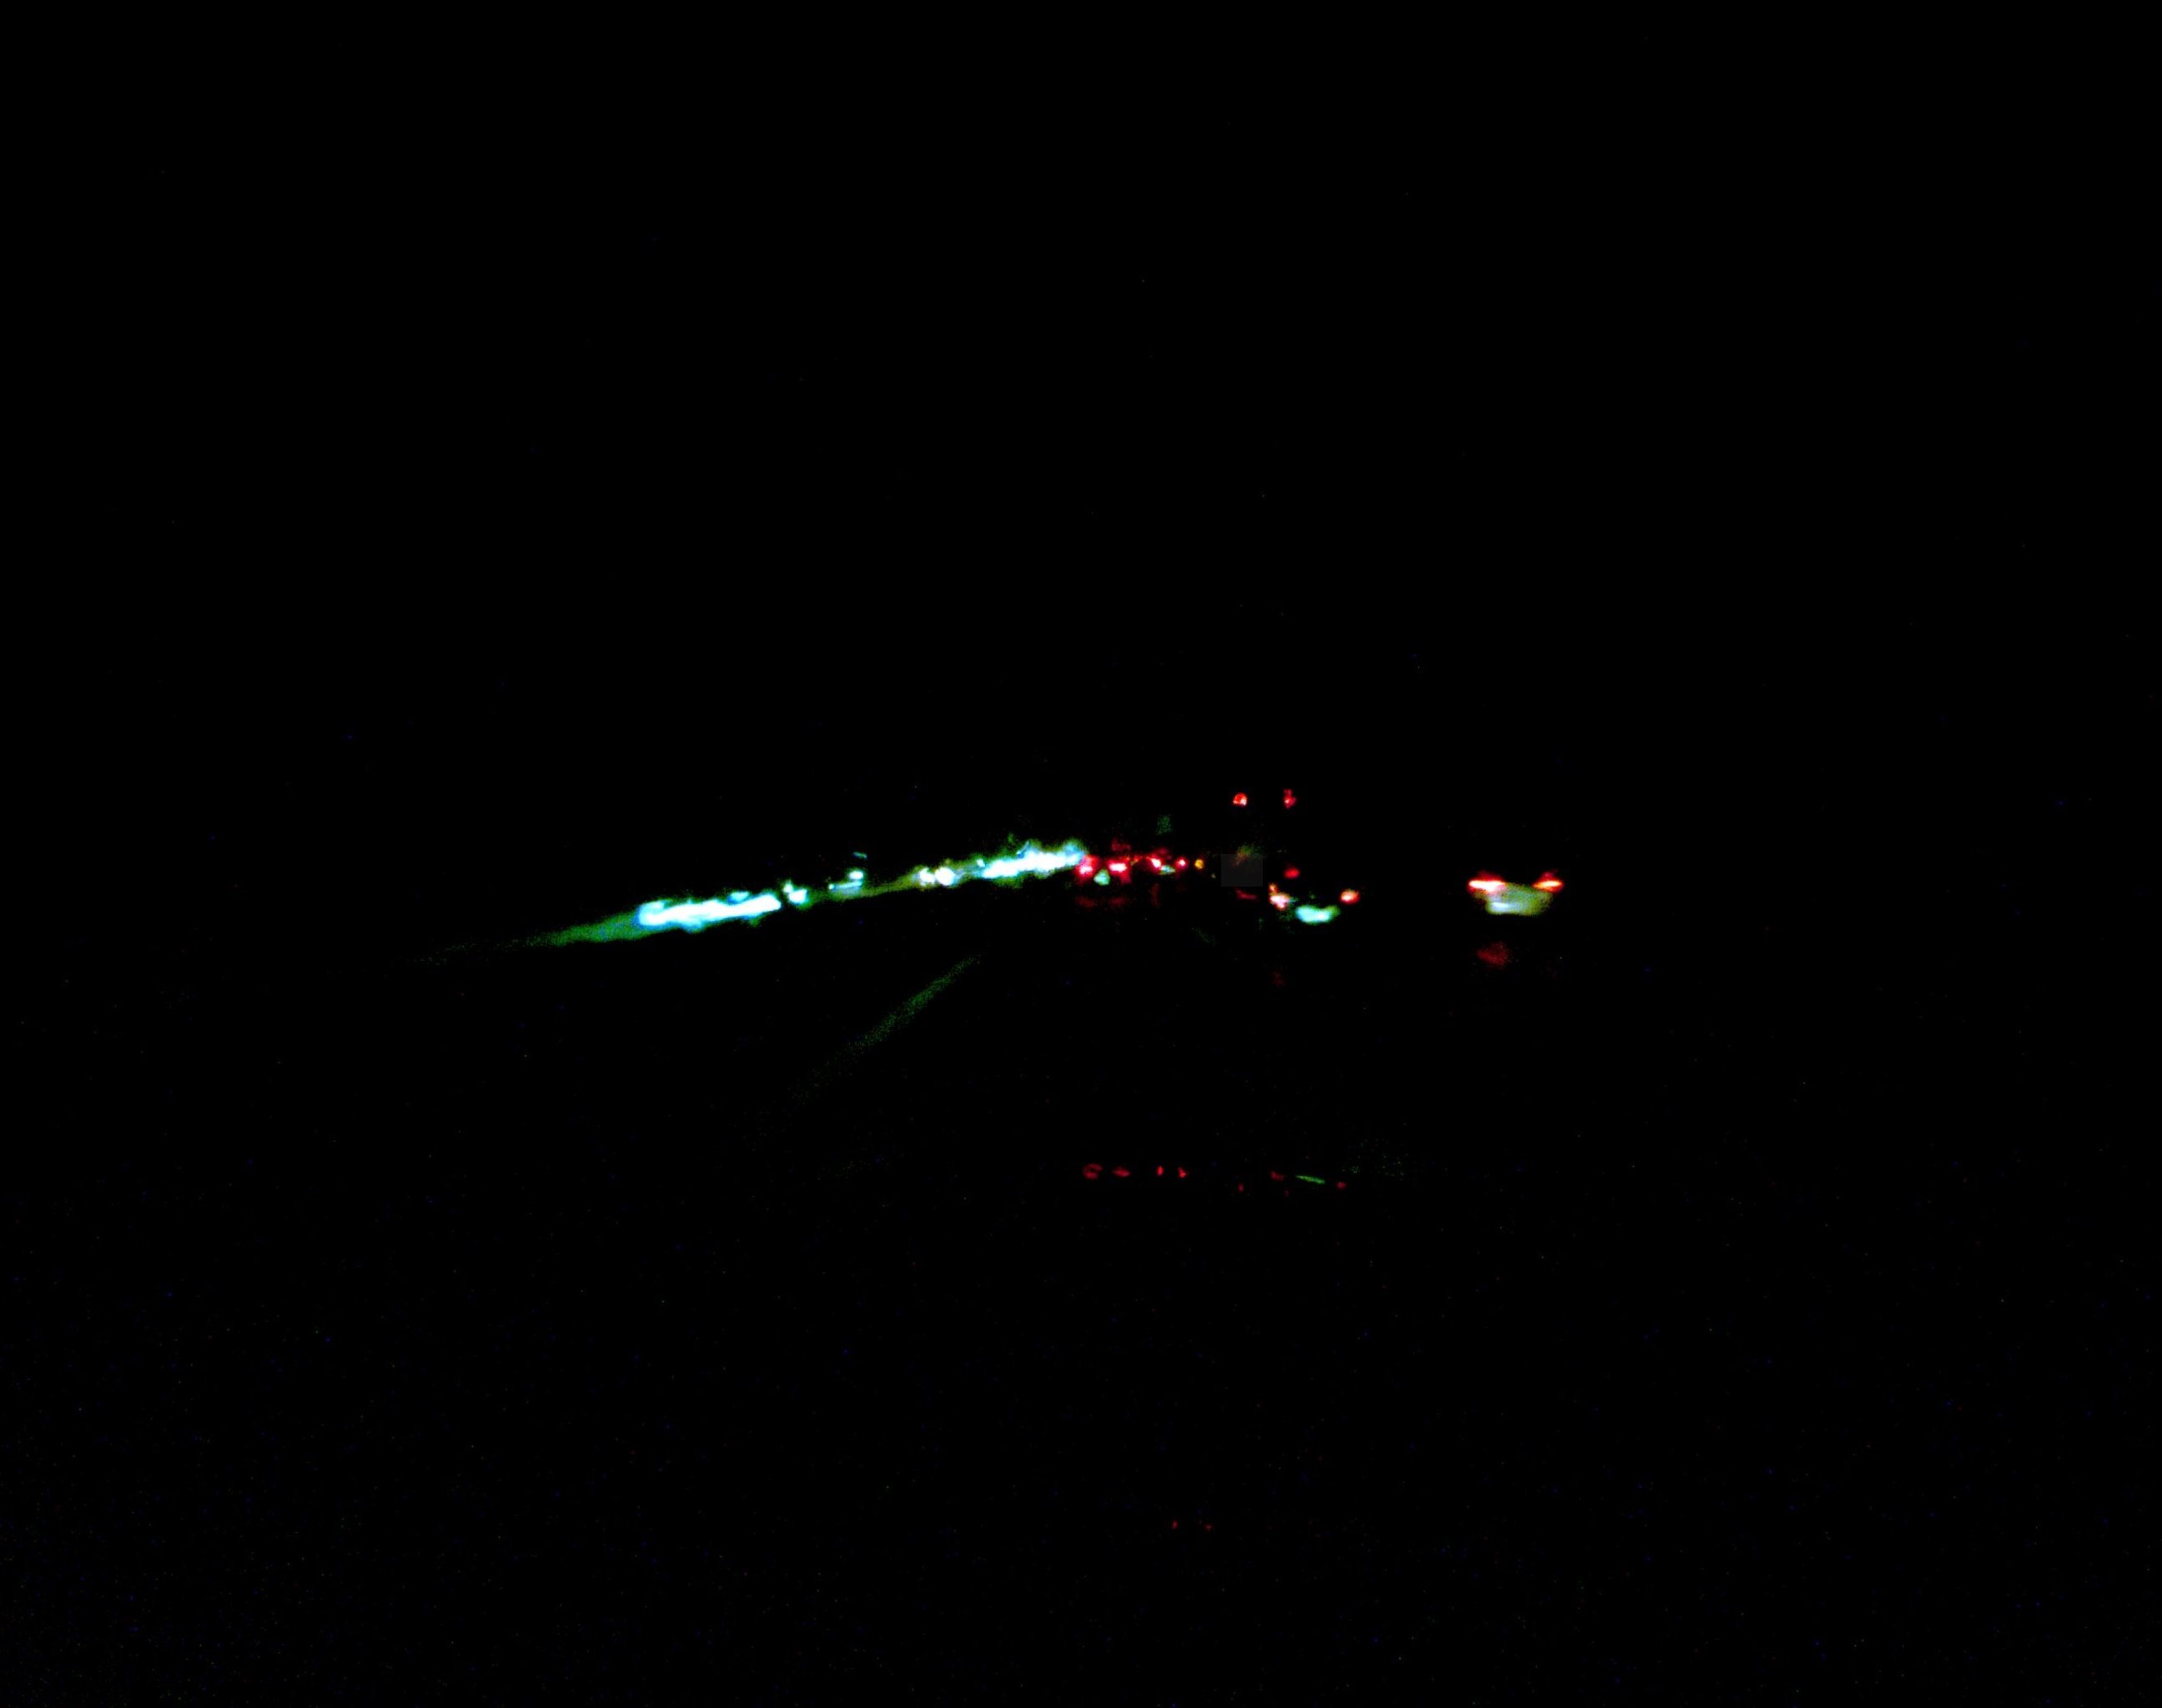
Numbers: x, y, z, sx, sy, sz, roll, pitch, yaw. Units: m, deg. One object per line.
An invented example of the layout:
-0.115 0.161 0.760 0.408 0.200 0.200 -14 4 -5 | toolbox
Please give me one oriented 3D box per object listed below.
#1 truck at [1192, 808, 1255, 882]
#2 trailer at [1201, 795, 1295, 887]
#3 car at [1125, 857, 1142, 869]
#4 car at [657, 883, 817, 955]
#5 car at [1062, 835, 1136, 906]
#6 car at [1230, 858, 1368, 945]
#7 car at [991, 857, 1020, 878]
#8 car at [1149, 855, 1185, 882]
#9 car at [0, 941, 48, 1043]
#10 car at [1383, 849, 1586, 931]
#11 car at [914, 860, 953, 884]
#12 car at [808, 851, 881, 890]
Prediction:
8.804 -0.497 51.008 2.793 4.267 7.450 -1 0 1 | truck
8.633 -0.584 43.778 2.793 4.212 12.100 -1 0 1 | trailer
7.039 1.207 109.586 2.128 1.618 4.002 0 -1 2 | car
-8.095 1.471 19.668 1.955 1.345 4.288 -1 0 1 | car
0.689 0.617 33.816 2.701 2.534 5.830 -3 0 0 | car
3.945 0.792 15.335 1.607 1.412 3.792 -1 0 0 | car
-6.600 1.147 71.606 1.987 1.616 4.418 -3 0 1 | car
5.206 0.855 49.703 1.877 1.588 4.001 -1 0 1 | car
-15.849 1.950 9.541 1.955 1.345 4.288 -1 0 1 | car
8.224 0.638 17.216 1.888 1.486 4.962 0 0 1 | car
-11.222 1.328 62.417 1.987 1.616 4.746 -3 0 1 | car
-10.664 0.689 37.148 1.644 1.582 5.130 -1 0 2 | car
